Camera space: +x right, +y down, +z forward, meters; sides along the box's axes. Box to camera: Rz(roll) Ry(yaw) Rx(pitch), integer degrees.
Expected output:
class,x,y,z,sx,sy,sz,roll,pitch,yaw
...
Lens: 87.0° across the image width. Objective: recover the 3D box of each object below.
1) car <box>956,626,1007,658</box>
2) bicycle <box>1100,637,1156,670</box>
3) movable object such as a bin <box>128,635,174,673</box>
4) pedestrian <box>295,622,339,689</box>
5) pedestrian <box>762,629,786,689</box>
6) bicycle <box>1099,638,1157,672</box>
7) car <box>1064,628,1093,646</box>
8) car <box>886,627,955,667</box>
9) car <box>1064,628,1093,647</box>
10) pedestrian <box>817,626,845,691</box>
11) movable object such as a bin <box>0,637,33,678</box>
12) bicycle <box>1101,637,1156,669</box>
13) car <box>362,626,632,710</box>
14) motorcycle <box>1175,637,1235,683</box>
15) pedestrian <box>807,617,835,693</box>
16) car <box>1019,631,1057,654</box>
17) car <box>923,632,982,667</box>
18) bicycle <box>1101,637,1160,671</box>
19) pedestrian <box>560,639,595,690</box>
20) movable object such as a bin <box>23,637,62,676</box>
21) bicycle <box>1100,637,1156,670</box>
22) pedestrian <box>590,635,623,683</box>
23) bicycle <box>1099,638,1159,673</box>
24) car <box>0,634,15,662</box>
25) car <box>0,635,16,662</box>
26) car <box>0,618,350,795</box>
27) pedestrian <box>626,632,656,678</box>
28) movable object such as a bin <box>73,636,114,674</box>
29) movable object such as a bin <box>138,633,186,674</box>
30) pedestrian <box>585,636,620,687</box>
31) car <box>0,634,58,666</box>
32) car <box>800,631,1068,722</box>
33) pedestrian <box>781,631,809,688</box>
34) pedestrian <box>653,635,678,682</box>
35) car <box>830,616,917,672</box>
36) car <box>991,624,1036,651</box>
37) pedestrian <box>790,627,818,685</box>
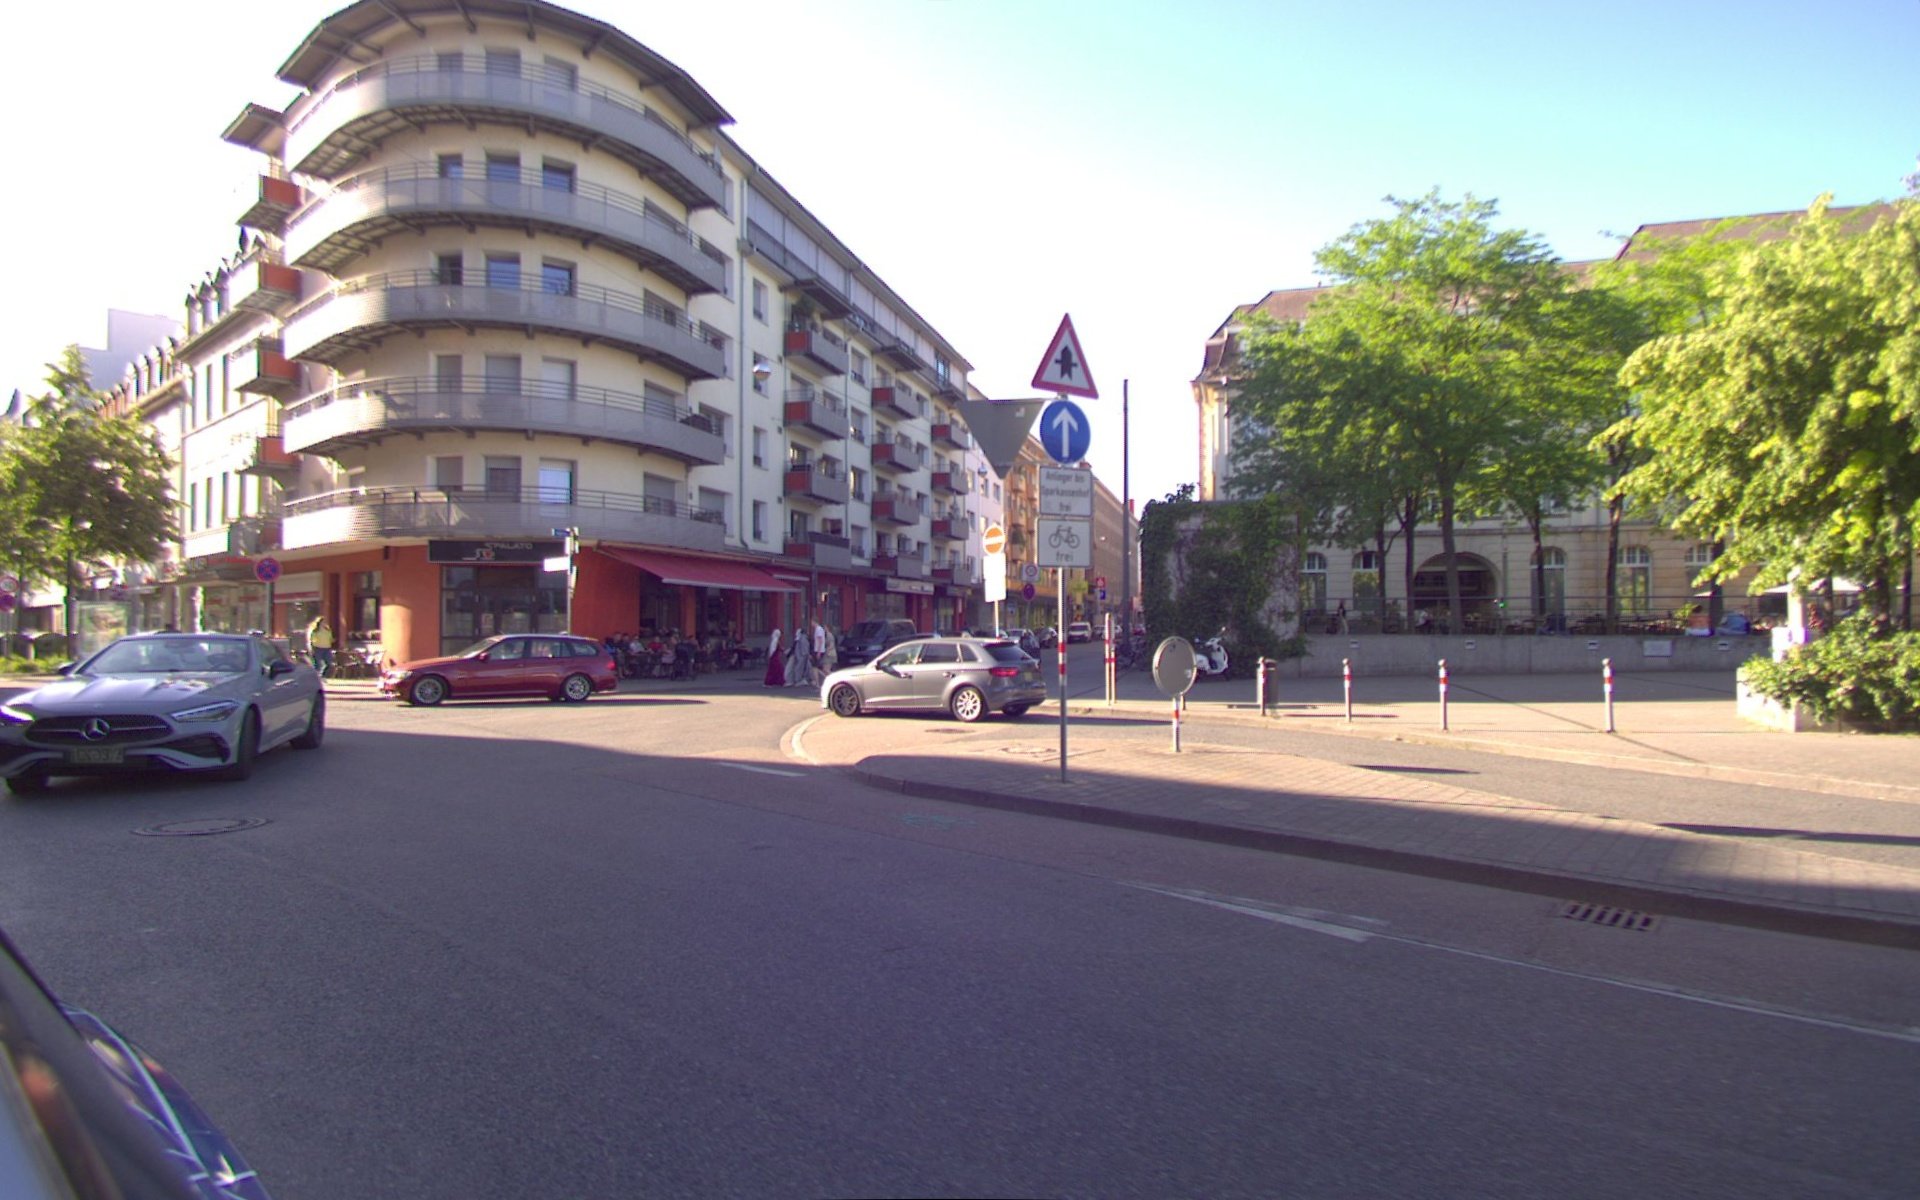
class,x,y,z,sx,sy,sz,roll,pitch,yaw
car,1.243,2.342,56.040,1.893,1.673,4.160,0,-3,16
bicycle,5.886,1.886,35.457,1.945,1.140,0.504,-1,-2,12
movable object such as a bin,-29.056,1.923,36.357,1.313,1.355,1.032,-2,-3,39
pedestrian,-16.521,1.418,25.993,1.035,1.672,0.658,-2,-2,40
pedestrian,-4.910,1.549,26.692,0.545,1.547,0.542,0,-2,-1
bicycle,5.776,1.887,34.789,1.945,1.140,0.504,-1,-2,12
car,10.439,3.272,88.762,1.893,1.585,4.160,0,-3,16
car,-1.704,2.102,45.295,1.893,1.673,4.160,0,-3,16
car,10.406,3.309,88.773,1.893,1.585,4.160,0,-3,16
pedestrian,-3.271,1.471,25.608,0.576,1.625,0.615,-1,-2,7
movable object such as a bin,-35.764,2.156,38.157,1.142,1.483,1.032,-2,-3,39
bicycle,6.109,1.915,36.681,1.945,1.140,0.504,-1,-2,12
car,-9.371,1.352,20.732,4.661,1.527,1.924,3,-4,-40
motorcycle,6.603,1.602,27.285,1.665,1.217,0.507,1,-2,-29
pedestrian,-3.421,1.351,24.960,0.552,1.841,0.586,-1,-2,7
car,5.559,2.995,71.498,1.893,1.585,4.160,0,-3,16
car,-0.320,2.451,50.551,1.893,1.673,4.160,0,-3,16
bicycle,5.743,1.825,34.161,1.945,1.140,0.504,-1,-2,12
pedestrian,-10.333,1.739,27.360,0.693,1.350,0.573,-1,-2,11
movable object such as a bin,-35.444,2.177,39.087,1.142,1.483,0.954,-2,-2,39
bicycle,5.979,1.902,36.071,1.945,1.140,0.504,-1,-2,12
pedestrian,-10.044,1.663,28.727,0.693,1.350,0.573,-1,-2,11
bicycle,5.609,1.831,33.604,1.945,1.140,0.504,-1,-2,12
car,-52.682,2.611,53.597,1.738,1.479,3.710,-2,-2,39
car,-54.413,2.706,55.460,1.789,1.439,3.800,-2,-2,41
car,-8.203,0.975,10.784,1.965,1.434,5.134,1,-3,-20
pedestrian,-9.628,1.657,30.567,0.693,1.350,0.573,-1,-2,11
movable object such as a bin,-34.454,2.170,40.255,1.142,1.483,1.032,-2,-3,39
movable object such as a bin,-27.890,1.851,35.360,1.313,1.415,1.032,-2,-3,39
pedestrian,-9.613,1.645,27.211,0.693,1.350,0.573,-1,-2,11
car,-46.637,2.446,49.098,1.739,1.479,4.158,-2,-2,42
car,-0.520,1.334,17.882,4.523,1.434,1.735,-3,-3,32
pedestrian,-4.535,1.629,27.853,0.690,1.547,0.575,0,-2,-1
pedestrian,-8.672,1.722,29.809,0.688,1.350,0.576,0,-2,-13
car,-3.299,1.738,39.600,2.017,2.065,4.328,0,-3,16
car,3.314,2.316,61.716,1.893,1.585,4.160,0,-3,16
pedestrian,-4.191,1.501,27.227,0.677,1.547,0.542,0,-2,-1
